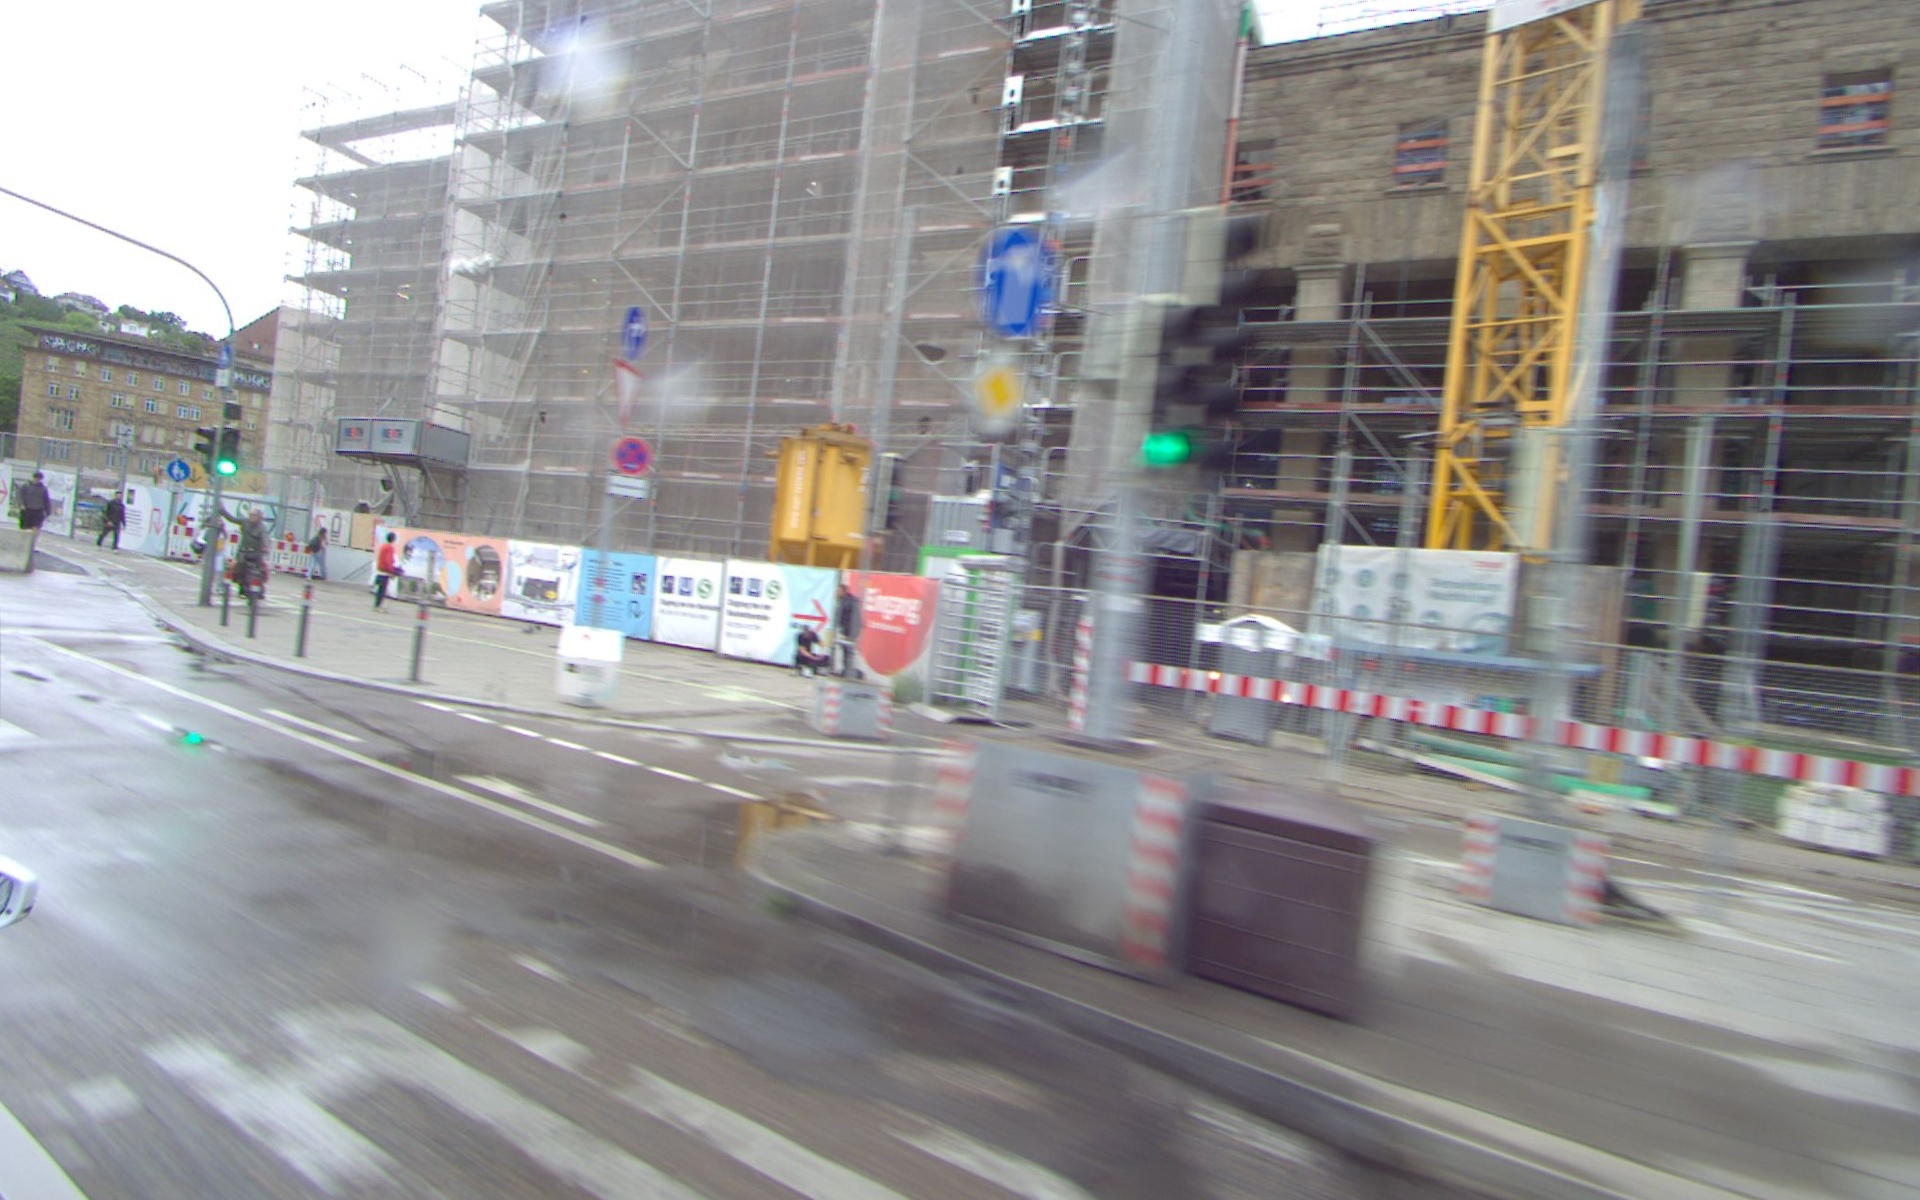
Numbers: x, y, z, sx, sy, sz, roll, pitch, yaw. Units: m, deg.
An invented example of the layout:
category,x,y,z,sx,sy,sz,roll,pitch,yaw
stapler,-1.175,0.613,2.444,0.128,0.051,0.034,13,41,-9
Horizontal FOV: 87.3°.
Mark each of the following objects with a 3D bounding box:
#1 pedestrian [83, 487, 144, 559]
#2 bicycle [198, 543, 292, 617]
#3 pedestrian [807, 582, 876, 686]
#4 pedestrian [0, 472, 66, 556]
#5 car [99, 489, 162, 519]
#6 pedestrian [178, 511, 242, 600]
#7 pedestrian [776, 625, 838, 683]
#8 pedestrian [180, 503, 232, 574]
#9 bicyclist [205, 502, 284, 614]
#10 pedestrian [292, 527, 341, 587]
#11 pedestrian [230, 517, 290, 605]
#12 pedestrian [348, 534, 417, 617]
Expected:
category,x,y,z,sx,sy,sz,roll,pitch,yaw
pedestrian,-23.836,-2.158,28.345,0.854,1.864,0.946,7,1,-17
bicycle,-12.819,-0.360,18.009,1.777,1.062,0.708,8,0,35
pedestrian,-2.082,0.594,17.595,0.701,1.693,0.788,6,1,-39
pedestrian,-22.567,-2.068,24.436,0.939,1.864,0.939,7,1,-30
car,-75.691,-8.736,91.831,1.971,2.038,3.984,7,0,39
pedestrian,-14.800,-0.872,19.866,0.789,1.628,0.829,7,1,-31
pedestrian,-2.824,0.995,18.560,0.792,0.952,0.709,7,0,-42
pedestrian,-21.230,-1.732,28.319,0.786,1.864,0.864,7,1,40
bicyclist,-12.839,-0.752,18.053,0.952,1.867,0.704,7,0,35
pedestrian,-19.639,-1.302,30.714,0.784,1.682,0.865,7,1,32
pedestrian,-13.989,-0.783,20.129,0.789,1.628,0.829,7,1,-31
pedestrian,-12.343,-0.514,21.507,0.847,1.628,0.770,7,1,15
